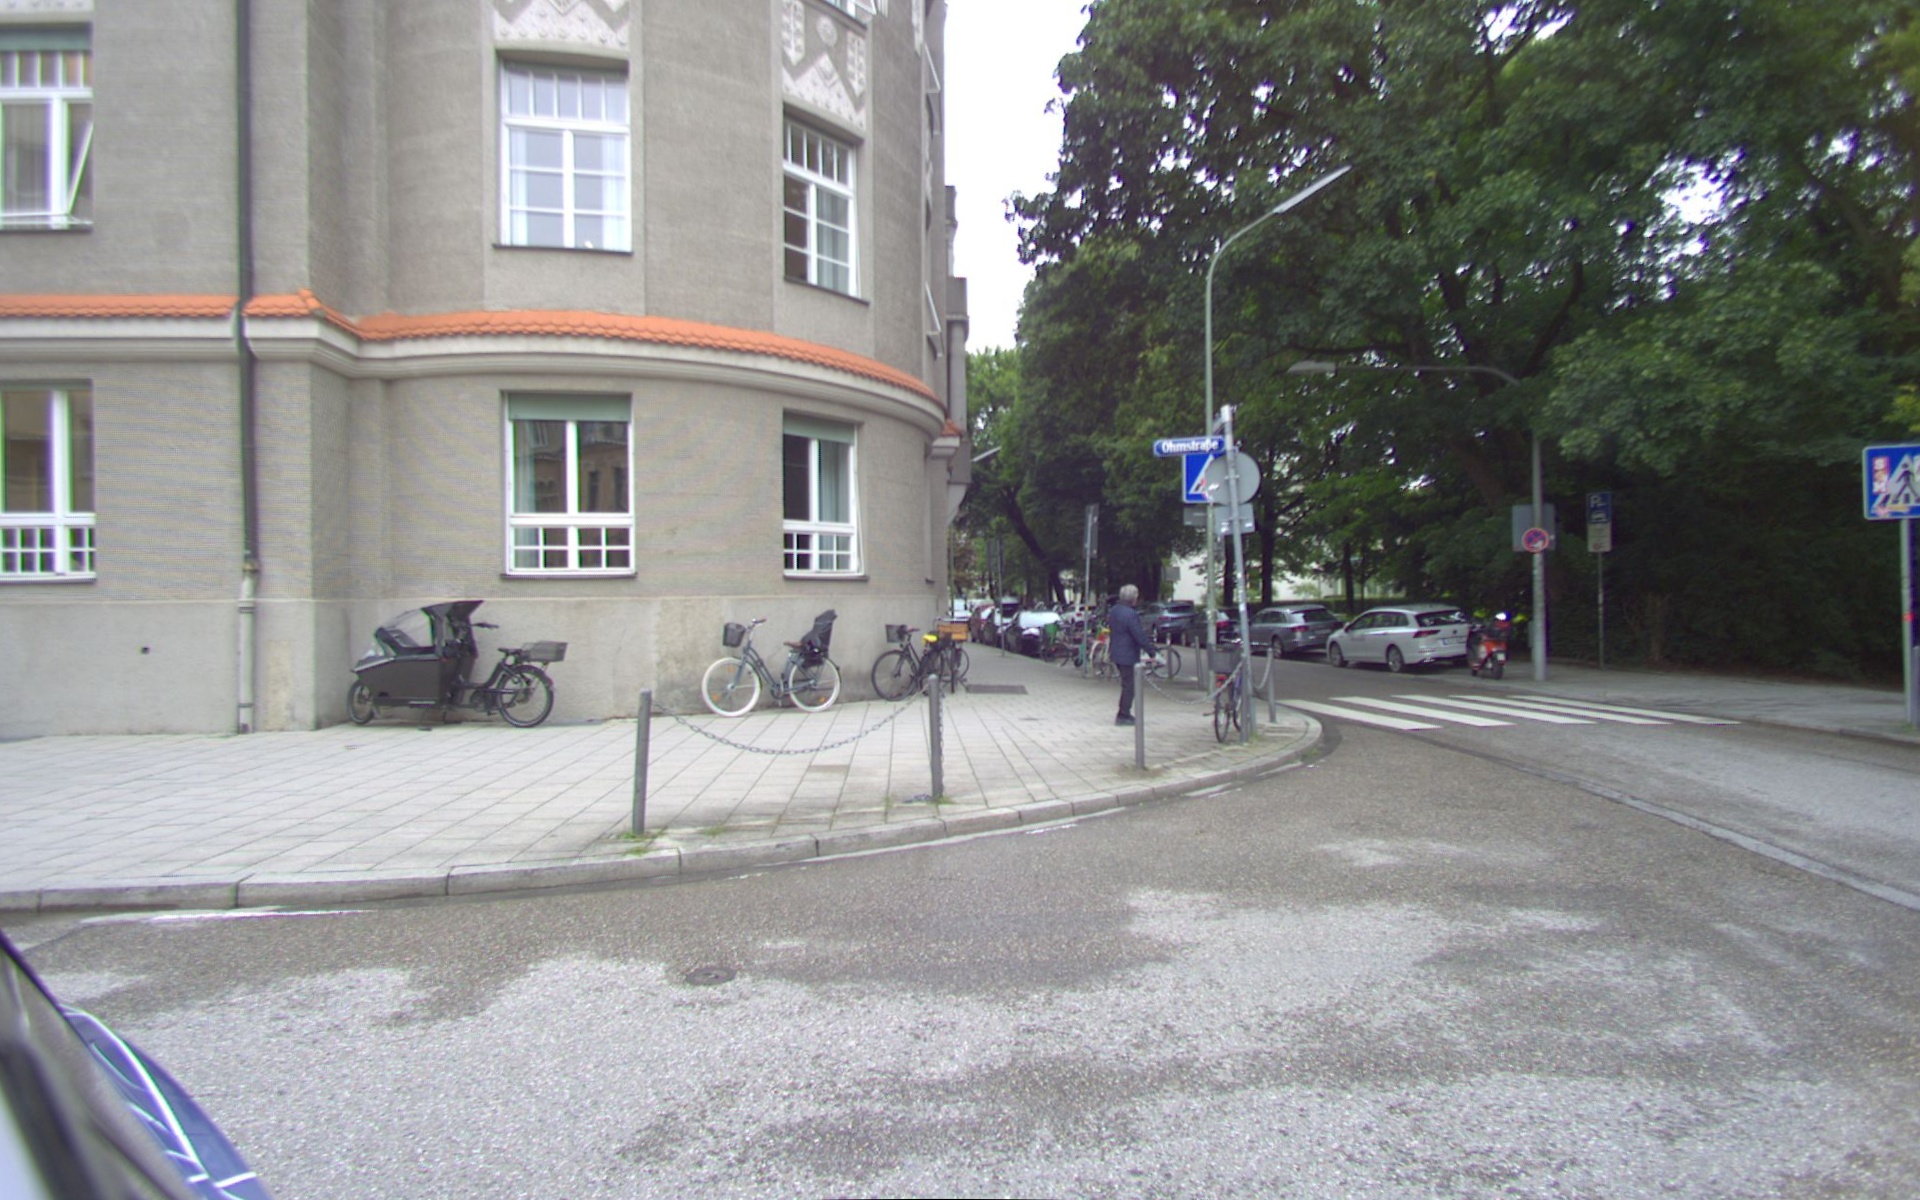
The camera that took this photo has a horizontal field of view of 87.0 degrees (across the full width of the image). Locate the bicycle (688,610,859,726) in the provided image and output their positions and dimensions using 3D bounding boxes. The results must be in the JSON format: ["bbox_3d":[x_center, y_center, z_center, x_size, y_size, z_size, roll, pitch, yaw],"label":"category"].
[{"bbox_3d":[-2.238,0.774,12.242,1.894,1.265,0.740,-1,0,-34],"label":"bicycle"}]

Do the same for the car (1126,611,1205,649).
[{"bbox_3d":[8.277,1.173,41.168,1.749,1.443,4.523,0,-1,-7],"label":"car"}]

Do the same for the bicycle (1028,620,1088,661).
[{"bbox_3d":[2.819,1.158,29.014,1.667,1.156,0.510,-1,0,13],"label":"bicycle"}]

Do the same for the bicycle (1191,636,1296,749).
[{"bbox_3d":[3.072,0.938,10.844,0.510,1.018,1.985,0,0,33],"label":"bicycle"}]

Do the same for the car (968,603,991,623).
[{"bbox_3d":[1.919,1.268,100.758,1.970,1.966,4.665,-1,0,-4],"label":"car"}]

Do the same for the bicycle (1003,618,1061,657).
[{"bbox_3d":[2.155,1.113,30.307,1.667,1.156,0.510,-1,0,13],"label":"bicycle"}]

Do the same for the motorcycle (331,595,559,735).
[{"bbox_3d":[-5.600,0.683,11.103,2.114,1.451,0.739,-1,0,-4],"label":"motorcycle"}]

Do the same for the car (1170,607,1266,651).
[{"bbox_3d":[9.106,1.016,36.117,1.749,1.443,4.523,0,-1,-7],"label":"car"}]

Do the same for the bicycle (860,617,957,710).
[{"bbox_3d":[-0.696,0.865,14.457,0.561,1.165,1.911,3,1,23],"label":"bicycle"}]

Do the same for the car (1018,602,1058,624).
[{"bbox_3d":[5.095,0.866,66.834,1.749,1.443,4.523,0,-1,-7],"label":"car"}]

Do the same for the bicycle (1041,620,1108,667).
[{"bbox_3d":[2.913,1.101,25.722,1.667,1.156,0.510,-1,0,13],"label":"bicycle"}]

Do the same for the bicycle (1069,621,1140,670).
[{"bbox_3d":[3.530,1.101,24.668,1.667,1.156,0.510,-1,0,13],"label":"bicycle"}]

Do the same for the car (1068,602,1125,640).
[{"bbox_3d":[6.915,1.044,51.809,1.749,1.849,4.523,0,-1,-7],"label":"car"}]

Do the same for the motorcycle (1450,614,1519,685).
[{"bbox_3d":[9.917,0.908,19.200,0.853,1.192,1.992,-4,-1,21],"label":"motorcycle"}]

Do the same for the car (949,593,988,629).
[{"bbox_3d":[0.468,0.618,60.144,1.970,1.966,4.665,-1,0,-4],"label":"car"}]

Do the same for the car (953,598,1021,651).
[{"bbox_3d":[1.001,0.906,39.939,1.969,1.966,4.668,-1,0,-7],"label":"car"}]

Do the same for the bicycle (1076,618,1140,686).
[{"bbox_3d":[2.758,0.933,18.749,0.510,1.156,1.665,-1,0,33],"label":"bicycle"}]

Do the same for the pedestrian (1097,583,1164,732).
[{"bbox_3d":[1.990,0.638,11.744,0.719,1.654,0.810,-1,0,13],"label":"pedestrian"}]

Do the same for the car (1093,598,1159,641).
[{"bbox_3d":[7.562,0.875,46.533,1.749,1.832,4.524,0,0,-7],"label":"car"}]

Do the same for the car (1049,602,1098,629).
[{"bbox_3d":[6.343,0.895,57.094,1.749,1.443,4.523,0,-1,-7],"label":"car"}]

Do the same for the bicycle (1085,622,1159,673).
[{"bbox_3d":[3.734,1.085,23.301,1.667,1.156,0.510,-1,0,13],"label":"bicycle"}]

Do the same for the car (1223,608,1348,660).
[{"bbox_3d":[9.589,0.977,30.227,1.749,1.443,4.523,0,-1,-7],"label":"car"}]

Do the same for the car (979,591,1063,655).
[{"bbox_3d":[1.971,0.718,34.077,1.969,1.966,4.668,-1,0,-7],"label":"car"}]

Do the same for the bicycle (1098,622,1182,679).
[{"bbox_3d":[3.757,1.051,21.101,1.691,1.156,0.510,-1,0,13],"label":"bicycle"}]

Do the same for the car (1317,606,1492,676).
[{"bbox_3d":[10.207,0.904,23.659,1.599,1.460,4.443,0,-1,-8],"label":"car"}]

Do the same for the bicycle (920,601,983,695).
[{"bbox_3d":[-0.114,0.733,16.452,0.730,1.424,1.921,-1,0,9],"label":"bicycle"}]

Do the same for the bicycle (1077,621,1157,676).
[{"bbox_3d":[3.395,1.044,21.863,1.667,1.156,0.464,-1,0,13],"label":"bicycle"}]

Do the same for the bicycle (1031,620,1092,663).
[{"bbox_3d":[2.838,1.156,28.311,1.667,1.156,0.510,-1,0,13],"label":"bicycle"}]
